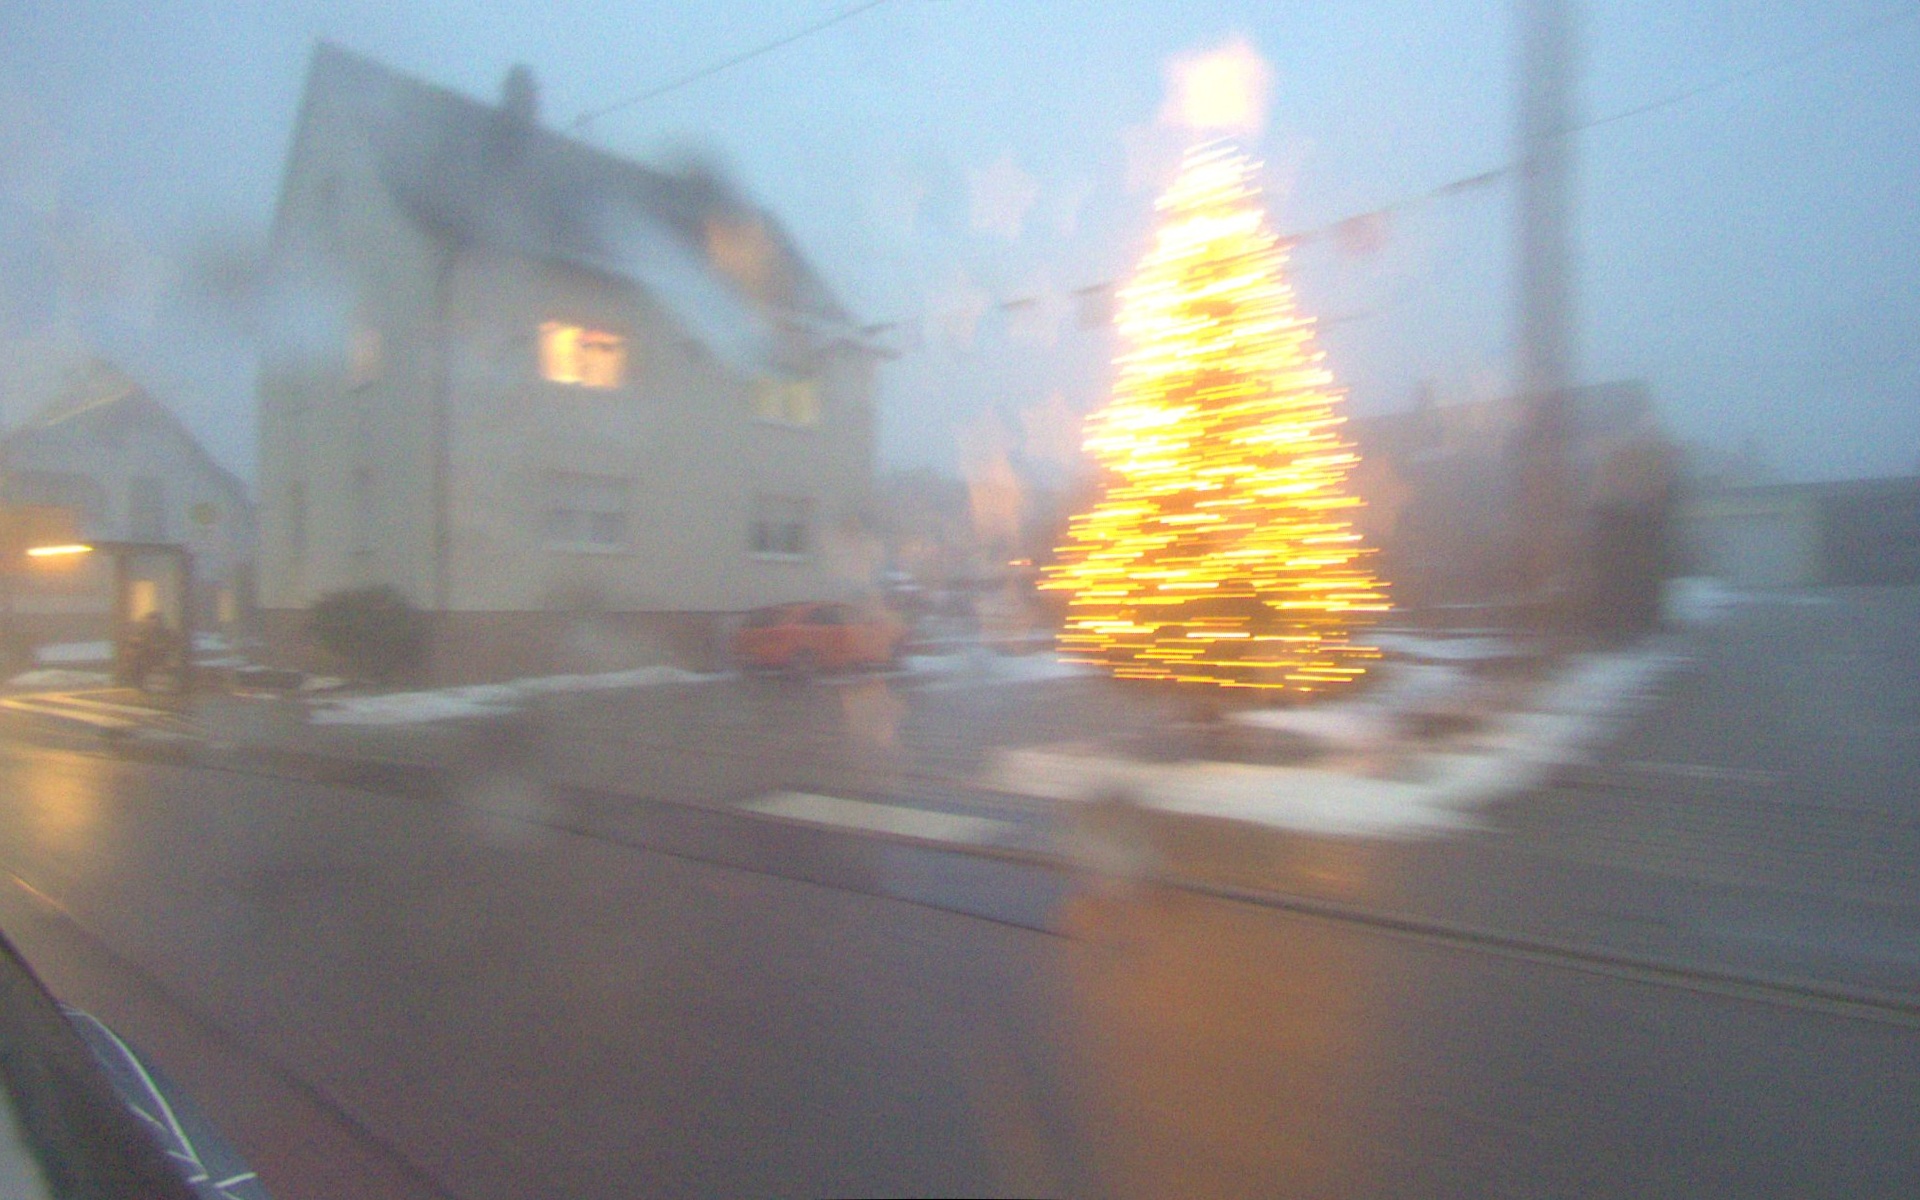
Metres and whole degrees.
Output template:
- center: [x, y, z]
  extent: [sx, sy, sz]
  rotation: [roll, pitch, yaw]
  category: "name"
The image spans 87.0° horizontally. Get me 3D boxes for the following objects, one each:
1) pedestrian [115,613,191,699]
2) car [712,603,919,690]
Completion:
- center: [-13.193, 0.898, 16.556]
  extent: [0.659, 1.339, 0.801]
  rotation: [-1, 0, 36]
  category: "pedestrian"
- center: [-2.631, 0.795, 19.034]
  extent: [1.624, 1.383, 3.738]
  rotation: [-1, 0, 39]
  category: "car"
